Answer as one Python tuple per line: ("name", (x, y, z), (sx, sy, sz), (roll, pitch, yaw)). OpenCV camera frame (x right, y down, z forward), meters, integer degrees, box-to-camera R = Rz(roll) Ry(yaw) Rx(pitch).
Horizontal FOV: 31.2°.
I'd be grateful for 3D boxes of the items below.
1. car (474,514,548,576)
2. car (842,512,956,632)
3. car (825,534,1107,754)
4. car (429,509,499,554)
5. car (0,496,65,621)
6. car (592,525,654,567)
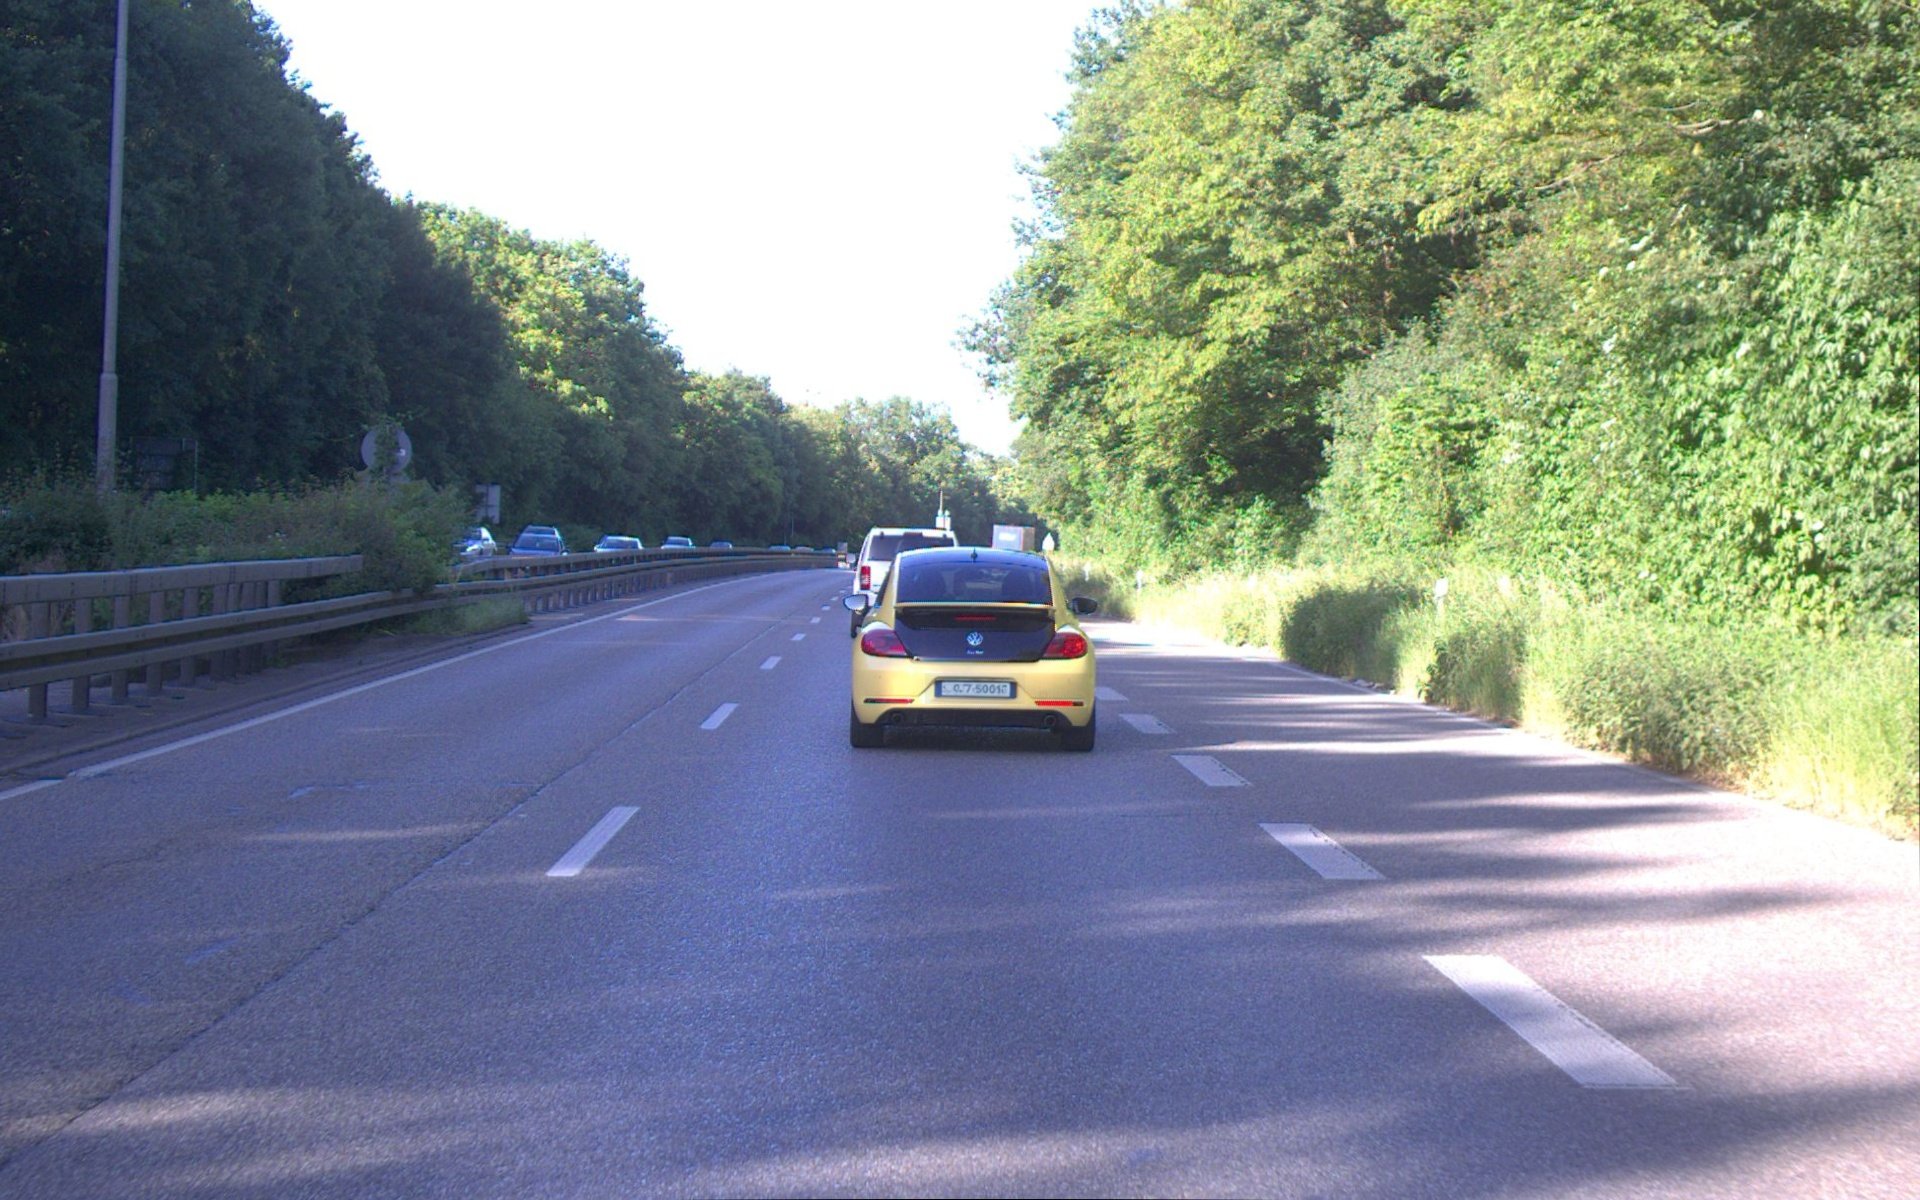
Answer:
("car", (-13.870, -1.709, 106.386), (1.788, 1.853, 4.000), (1, 1, -1))
("car", (-0.941, -0.456, 54.650), (1.741, 1.823, 3.422), (1, 1, 0))
("car", (0.111, 0.286, 25.828), (1.939, 1.503, 3.422), (1, 1, 3))
("car", (-18.592, -2.561, 129.057), (1.993, 1.595, 4.708), (1, 1, -1))
("car", (-12.247, -0.537, 41.565), (1.730, 1.484, 4.397), (2, 1, -1))
("car", (-13.067, -2.090, 133.335), (1.993, 1.554, 4.708), (1, 1, -1))
